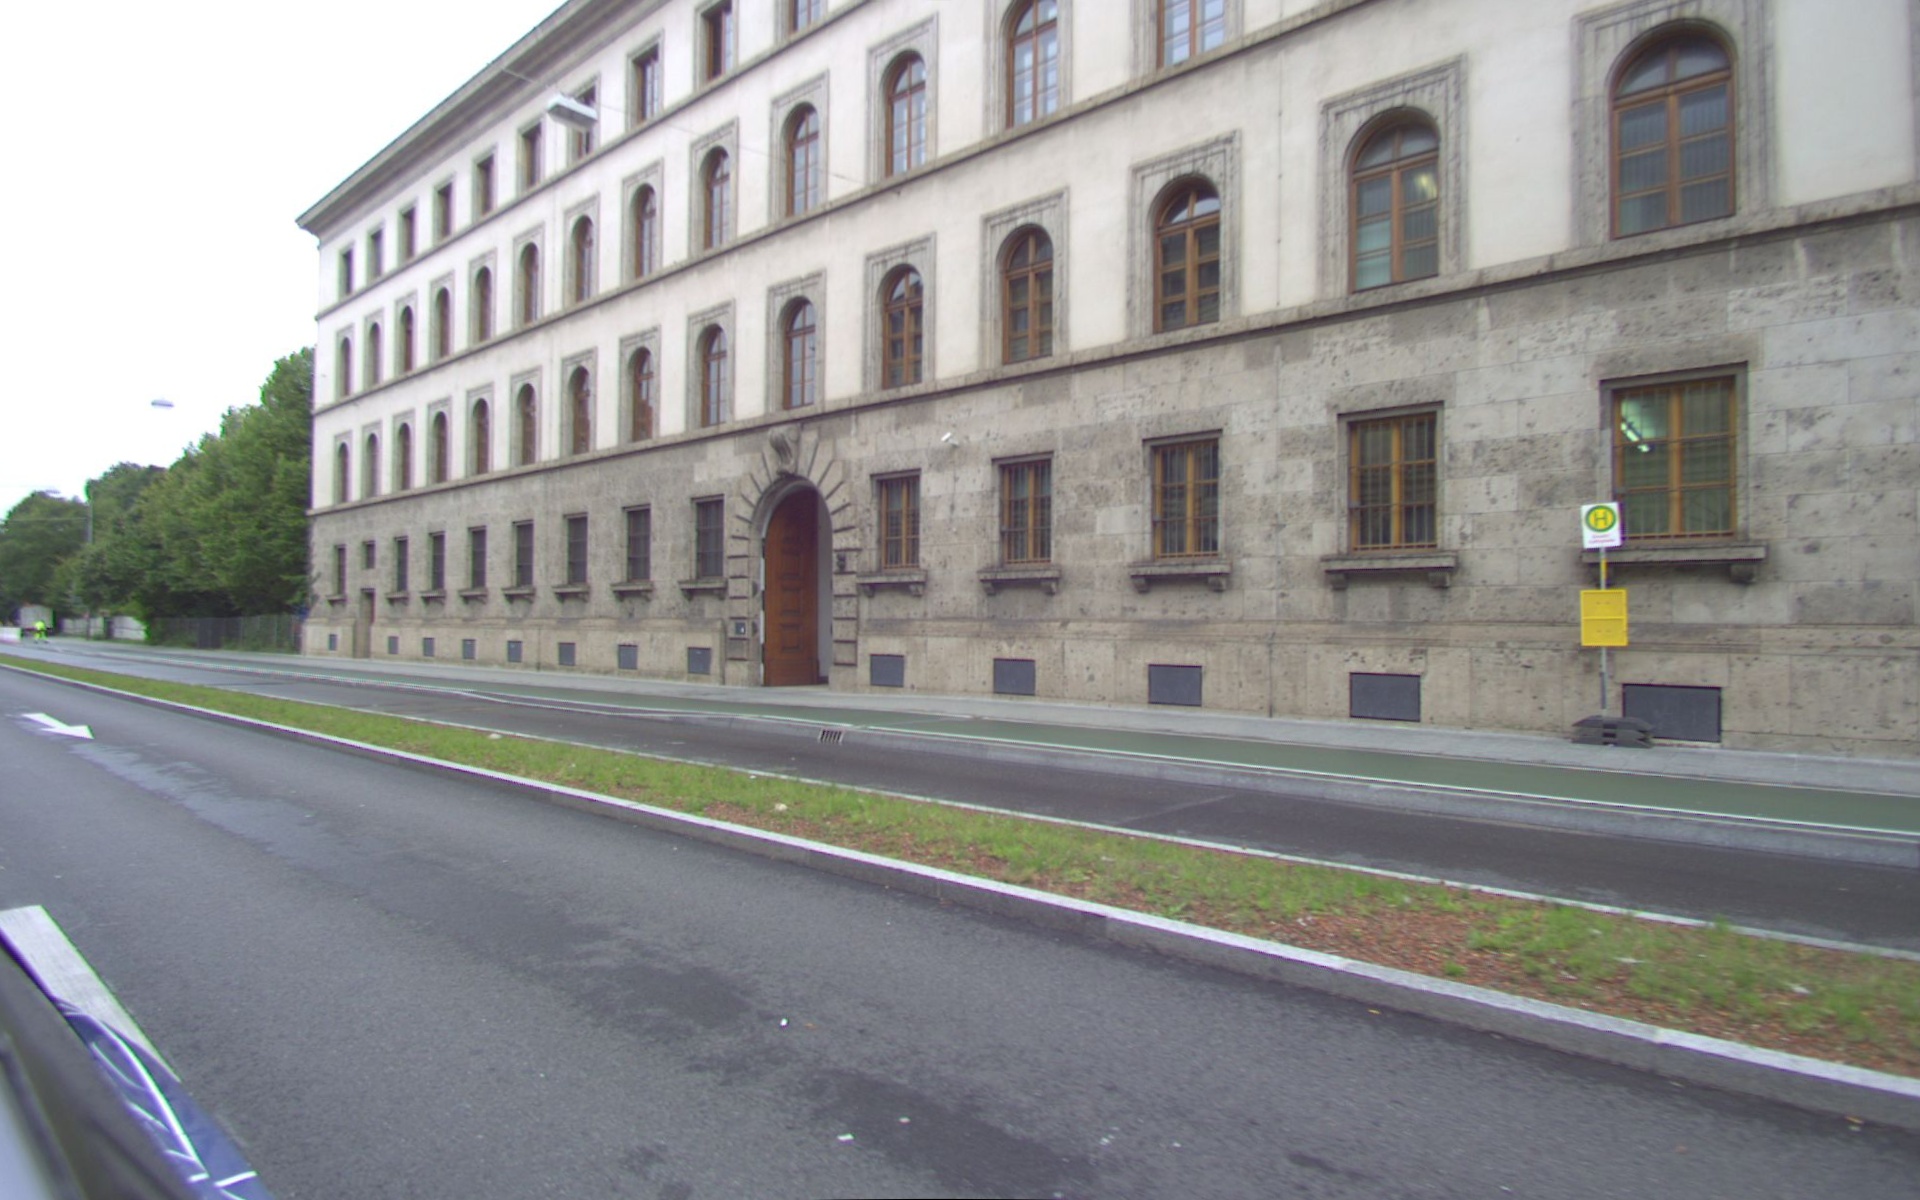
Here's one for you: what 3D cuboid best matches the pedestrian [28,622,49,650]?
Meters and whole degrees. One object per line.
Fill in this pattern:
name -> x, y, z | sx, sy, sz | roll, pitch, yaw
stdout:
pedestrian -> -68.224, 2.630, 74.914 | 0.746, 2.029, 0.868 | -1, -1, -4
